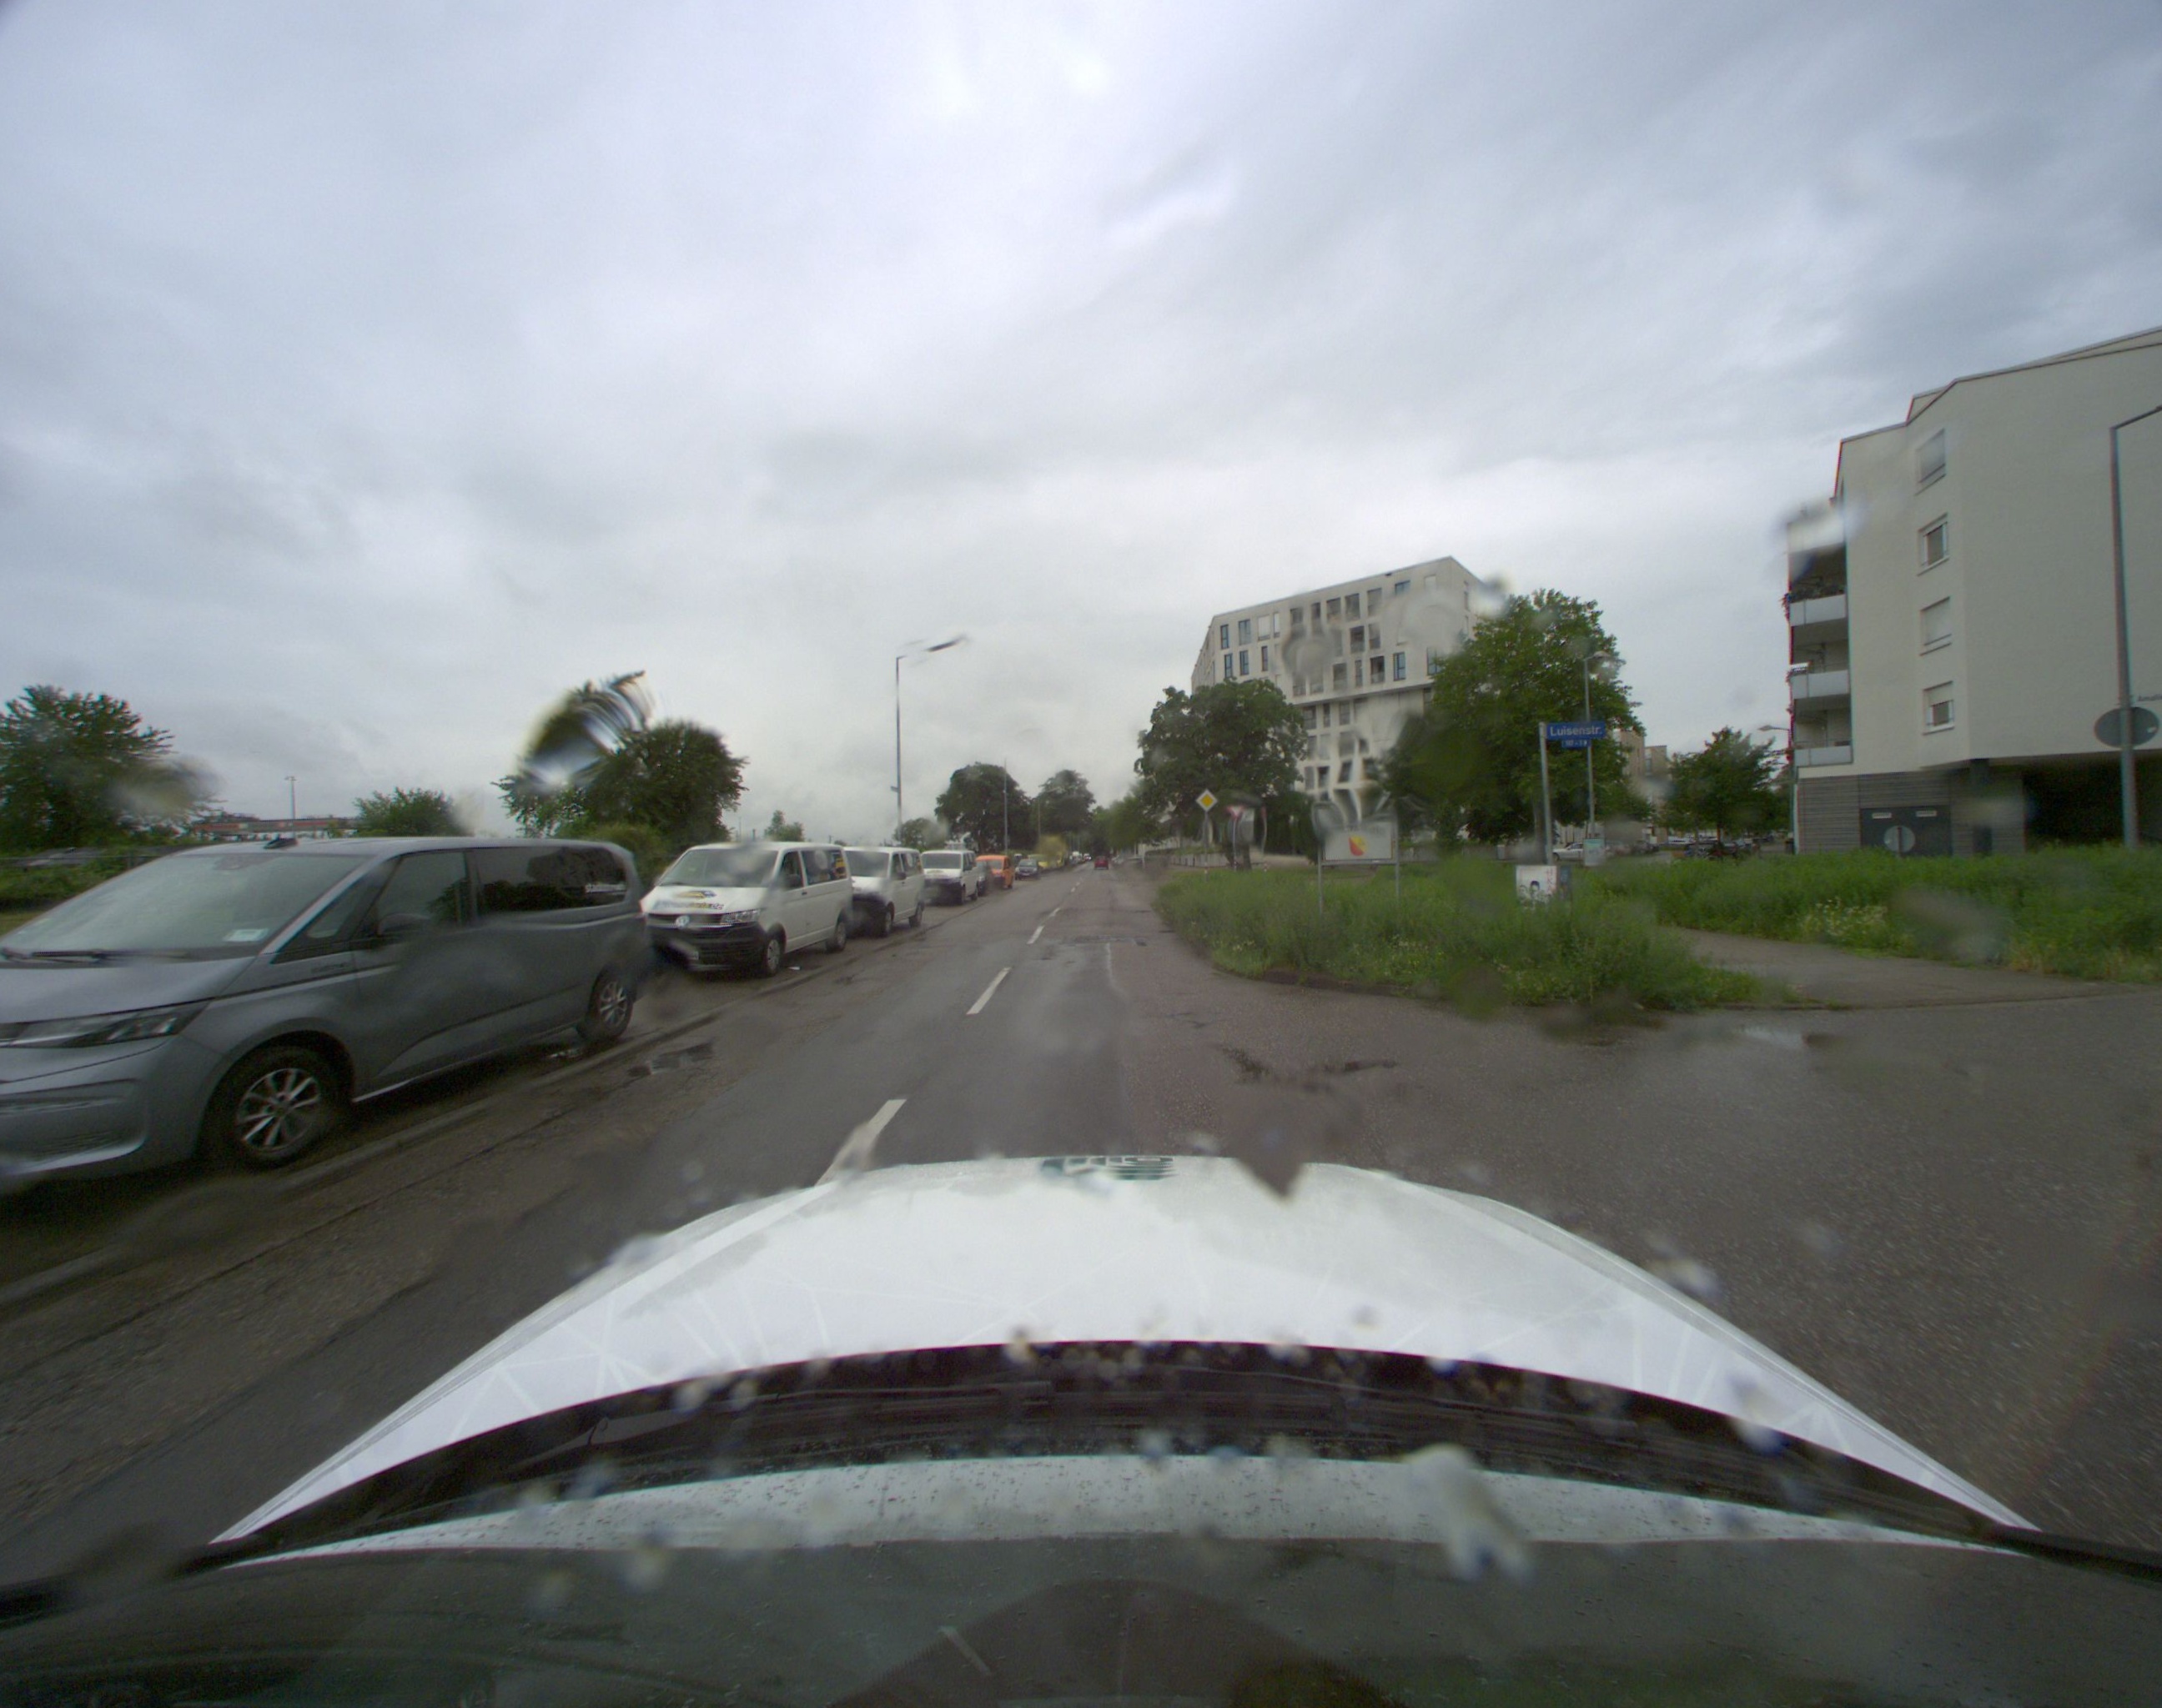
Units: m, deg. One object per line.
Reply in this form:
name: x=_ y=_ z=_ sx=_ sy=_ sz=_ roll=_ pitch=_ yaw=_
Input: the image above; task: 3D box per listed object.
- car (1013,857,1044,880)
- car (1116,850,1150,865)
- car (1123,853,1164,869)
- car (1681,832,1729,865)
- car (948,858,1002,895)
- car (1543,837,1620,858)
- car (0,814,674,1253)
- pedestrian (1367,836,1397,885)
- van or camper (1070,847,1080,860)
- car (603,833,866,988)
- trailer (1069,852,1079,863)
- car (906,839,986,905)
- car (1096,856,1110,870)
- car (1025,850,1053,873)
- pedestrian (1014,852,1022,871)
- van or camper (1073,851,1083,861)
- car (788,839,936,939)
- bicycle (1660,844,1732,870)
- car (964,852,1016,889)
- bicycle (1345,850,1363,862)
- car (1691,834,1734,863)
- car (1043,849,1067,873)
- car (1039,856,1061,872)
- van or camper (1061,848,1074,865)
car: x=-3.780 y=1.004 z=59.400 sx=1.797 sy=1.561 sz=4.034 roll=1 pitch=0 yaw=2
car: x=7.252 y=0.474 z=114.291 sx=4.527 sy=1.685 sz=1.885 roll=-6 pitch=0 yaw=-2
car: x=6.980 y=0.735 z=91.319 sx=4.472 sy=1.481 sz=1.692 roll=-4 pitch=0 yaw=0
car: x=31.324 y=-0.224 z=40.839 sx=1.712 sy=1.548 sz=4.146 roll=-2 pitch=-2 yaw=40
car: x=-4.756 y=0.974 z=37.097 sx=1.678 sy=1.502 sz=4.893 roll=-1 pitch=0 yaw=1
car: x=37.964 y=-0.525 z=61.835 sx=4.775 sy=1.507 sz=1.635 roll=1 pitch=1 yaw=42
car: x=-5.324 y=0.796 z=6.051 sx=1.948 sy=1.901 sz=4.996 roll=-1 pitch=0 yaw=2
pedestrian: x=12.664 y=0.250 z=34.293 sx=0.962 sy=2.013 sz=0.623 roll=-2 pitch=0 yaw=1
van or camper: x=-1.344 y=-0.140 z=183.412 sx=1.986 sy=2.762 sz=7.901 roll=0 pitch=0 yaw=2
car: x=-5.284 y=0.748 z=13.419 sx=1.888 sy=2.013 sz=5.260 roll=-1 pitch=0 yaw=2
trailer: x=-1.472 y=0.765 z=170.744 sx=2.052 sy=2.218 sz=5.793 roll=0 pitch=0 yaw=0
car: x=-4.991 y=0.618 z=30.904 sx=1.936 sy=2.236 sz=5.559 roll=-1 pitch=0 yaw=1
car: x=2.894 y=1.178 z=107.755 sx=1.750 sy=1.705 sz=4.001 roll=-2 pitch=1 yaw=1
car: x=-3.664 y=0.655 z=72.105 sx=2.010 sy=1.956 sz=6.066 roll=0 pitch=0 yaw=1
pedestrian: x=-6.741 y=0.846 z=87.338 sx=0.739 sy=2.014 sz=0.981 roll=-1 pitch=0 yaw=2
van or camper: x=-0.729 y=0.434 z=197.367 sx=2.181 sy=2.462 sz=6.379 roll=0 pitch=0 yaw=2
car: x=-5.021 y=0.731 z=19.586 sx=1.952 sy=2.058 sz=5.276 roll=-1 pitch=0 yaw=2
bicycle: x=27.079 y=0.144 z=35.912 sx=2.453 sy=1.087 sz=0.730 roll=-2 pitch=0 yaw=42
car: x=-4.650 y=0.801 z=42.311 sx=1.932 sy=1.767 sz=4.335 roll=-1 pitch=0 yaw=3
bicycle: x=23.760 y=0.159 z=70.932 sx=0.716 sy=1.033 sz=2.086 roll=-2 pitch=0 yaw=41
car: x=35.630 y=-0.344 z=45.936 sx=1.712 sy=1.548 sz=4.025 roll=-2 pitch=0 yaw=40
car: x=-3.047 y=0.772 z=96.559 sx=2.182 sy=2.694 sz=6.086 roll=1 pitch=0 yaw=3
car: x=-3.175 y=1.008 z=84.398 sx=1.987 sy=1.594 sz=5.017 roll=1 pitch=-1 yaw=0
van or camper: x=-2.262 y=0.402 z=136.751 sx=2.088 sy=2.716 sz=7.572 roll=1 pitch=-1 yaw=0
